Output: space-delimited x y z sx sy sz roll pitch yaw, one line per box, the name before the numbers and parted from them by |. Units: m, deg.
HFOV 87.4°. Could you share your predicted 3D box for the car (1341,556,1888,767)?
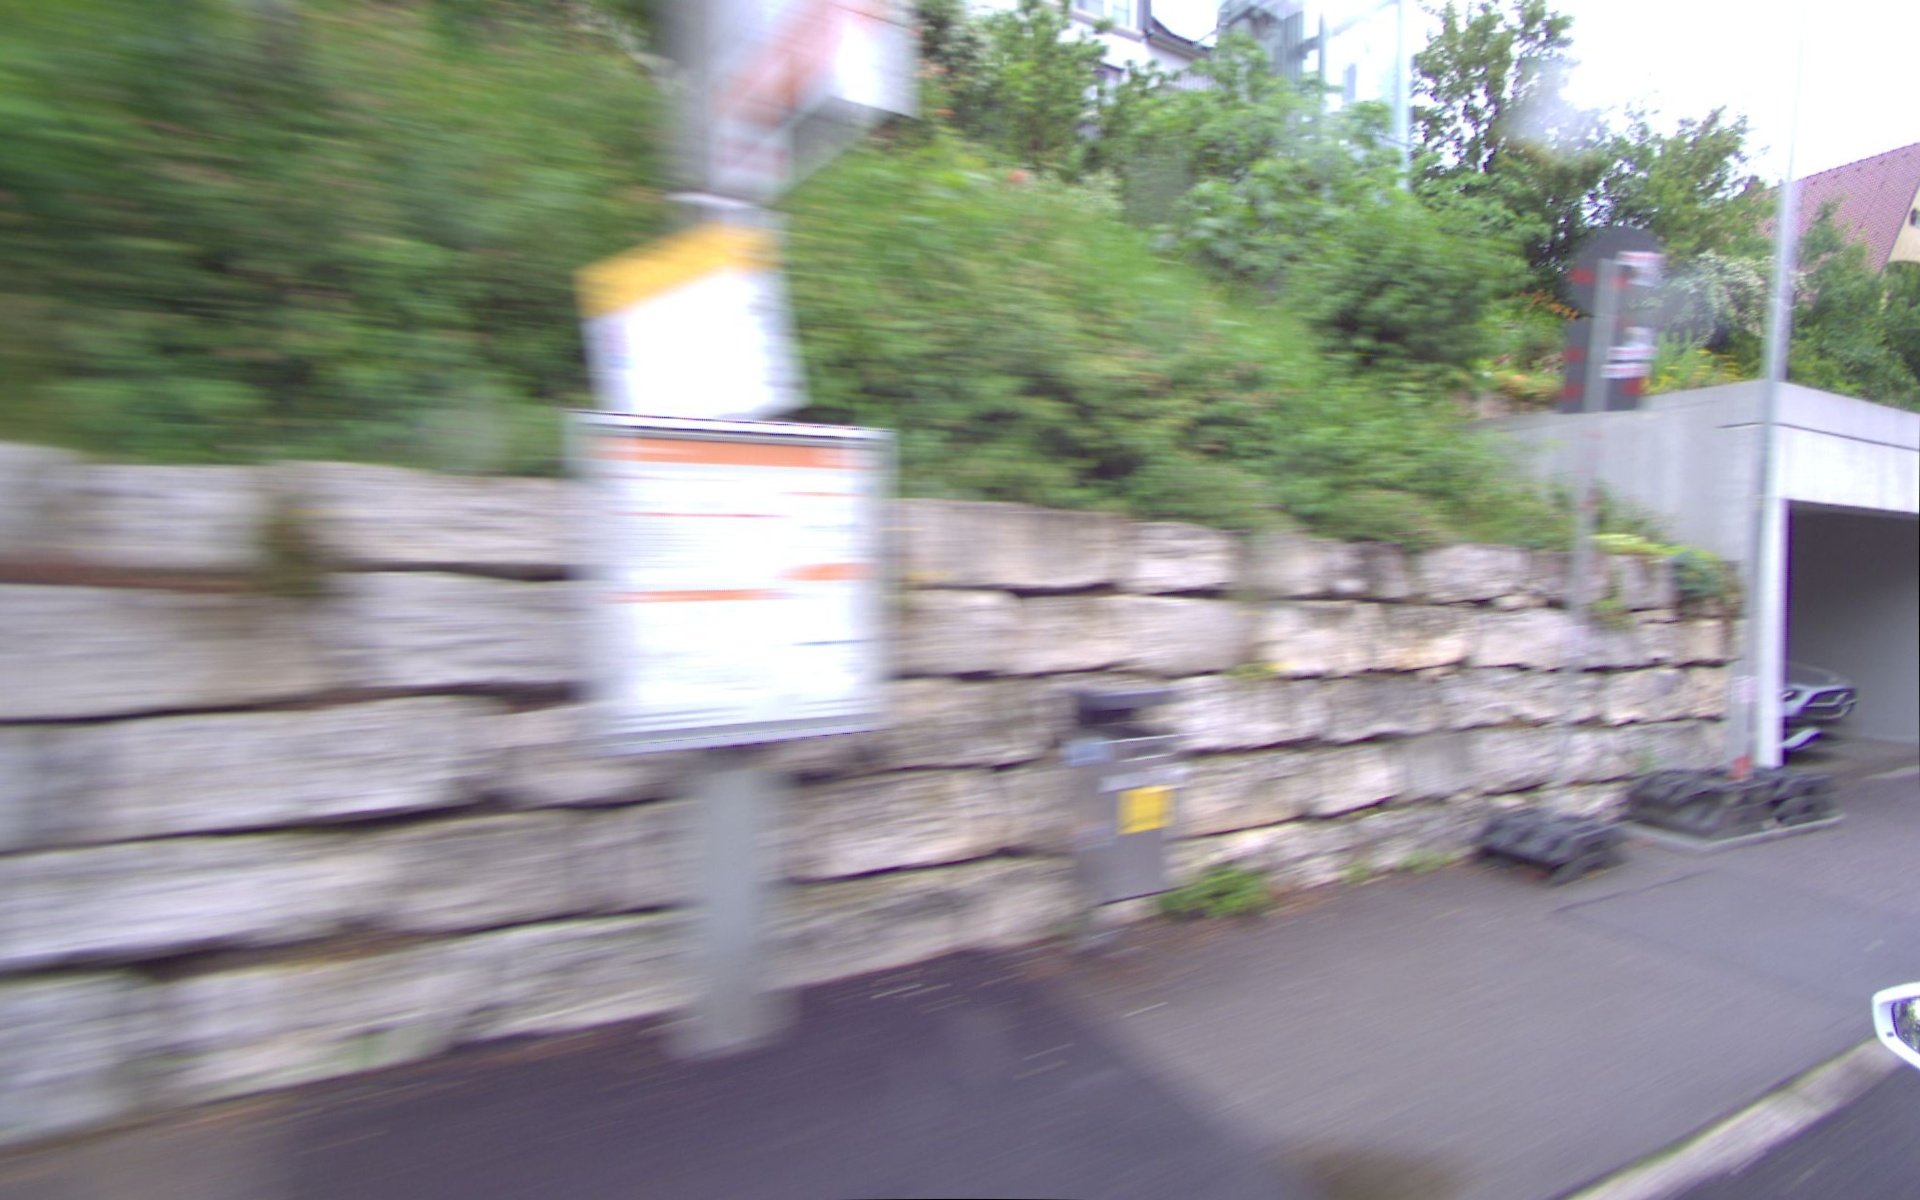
car | 6.577 0.454 10.670 2.086 1.729 4.379 1 1 -30
